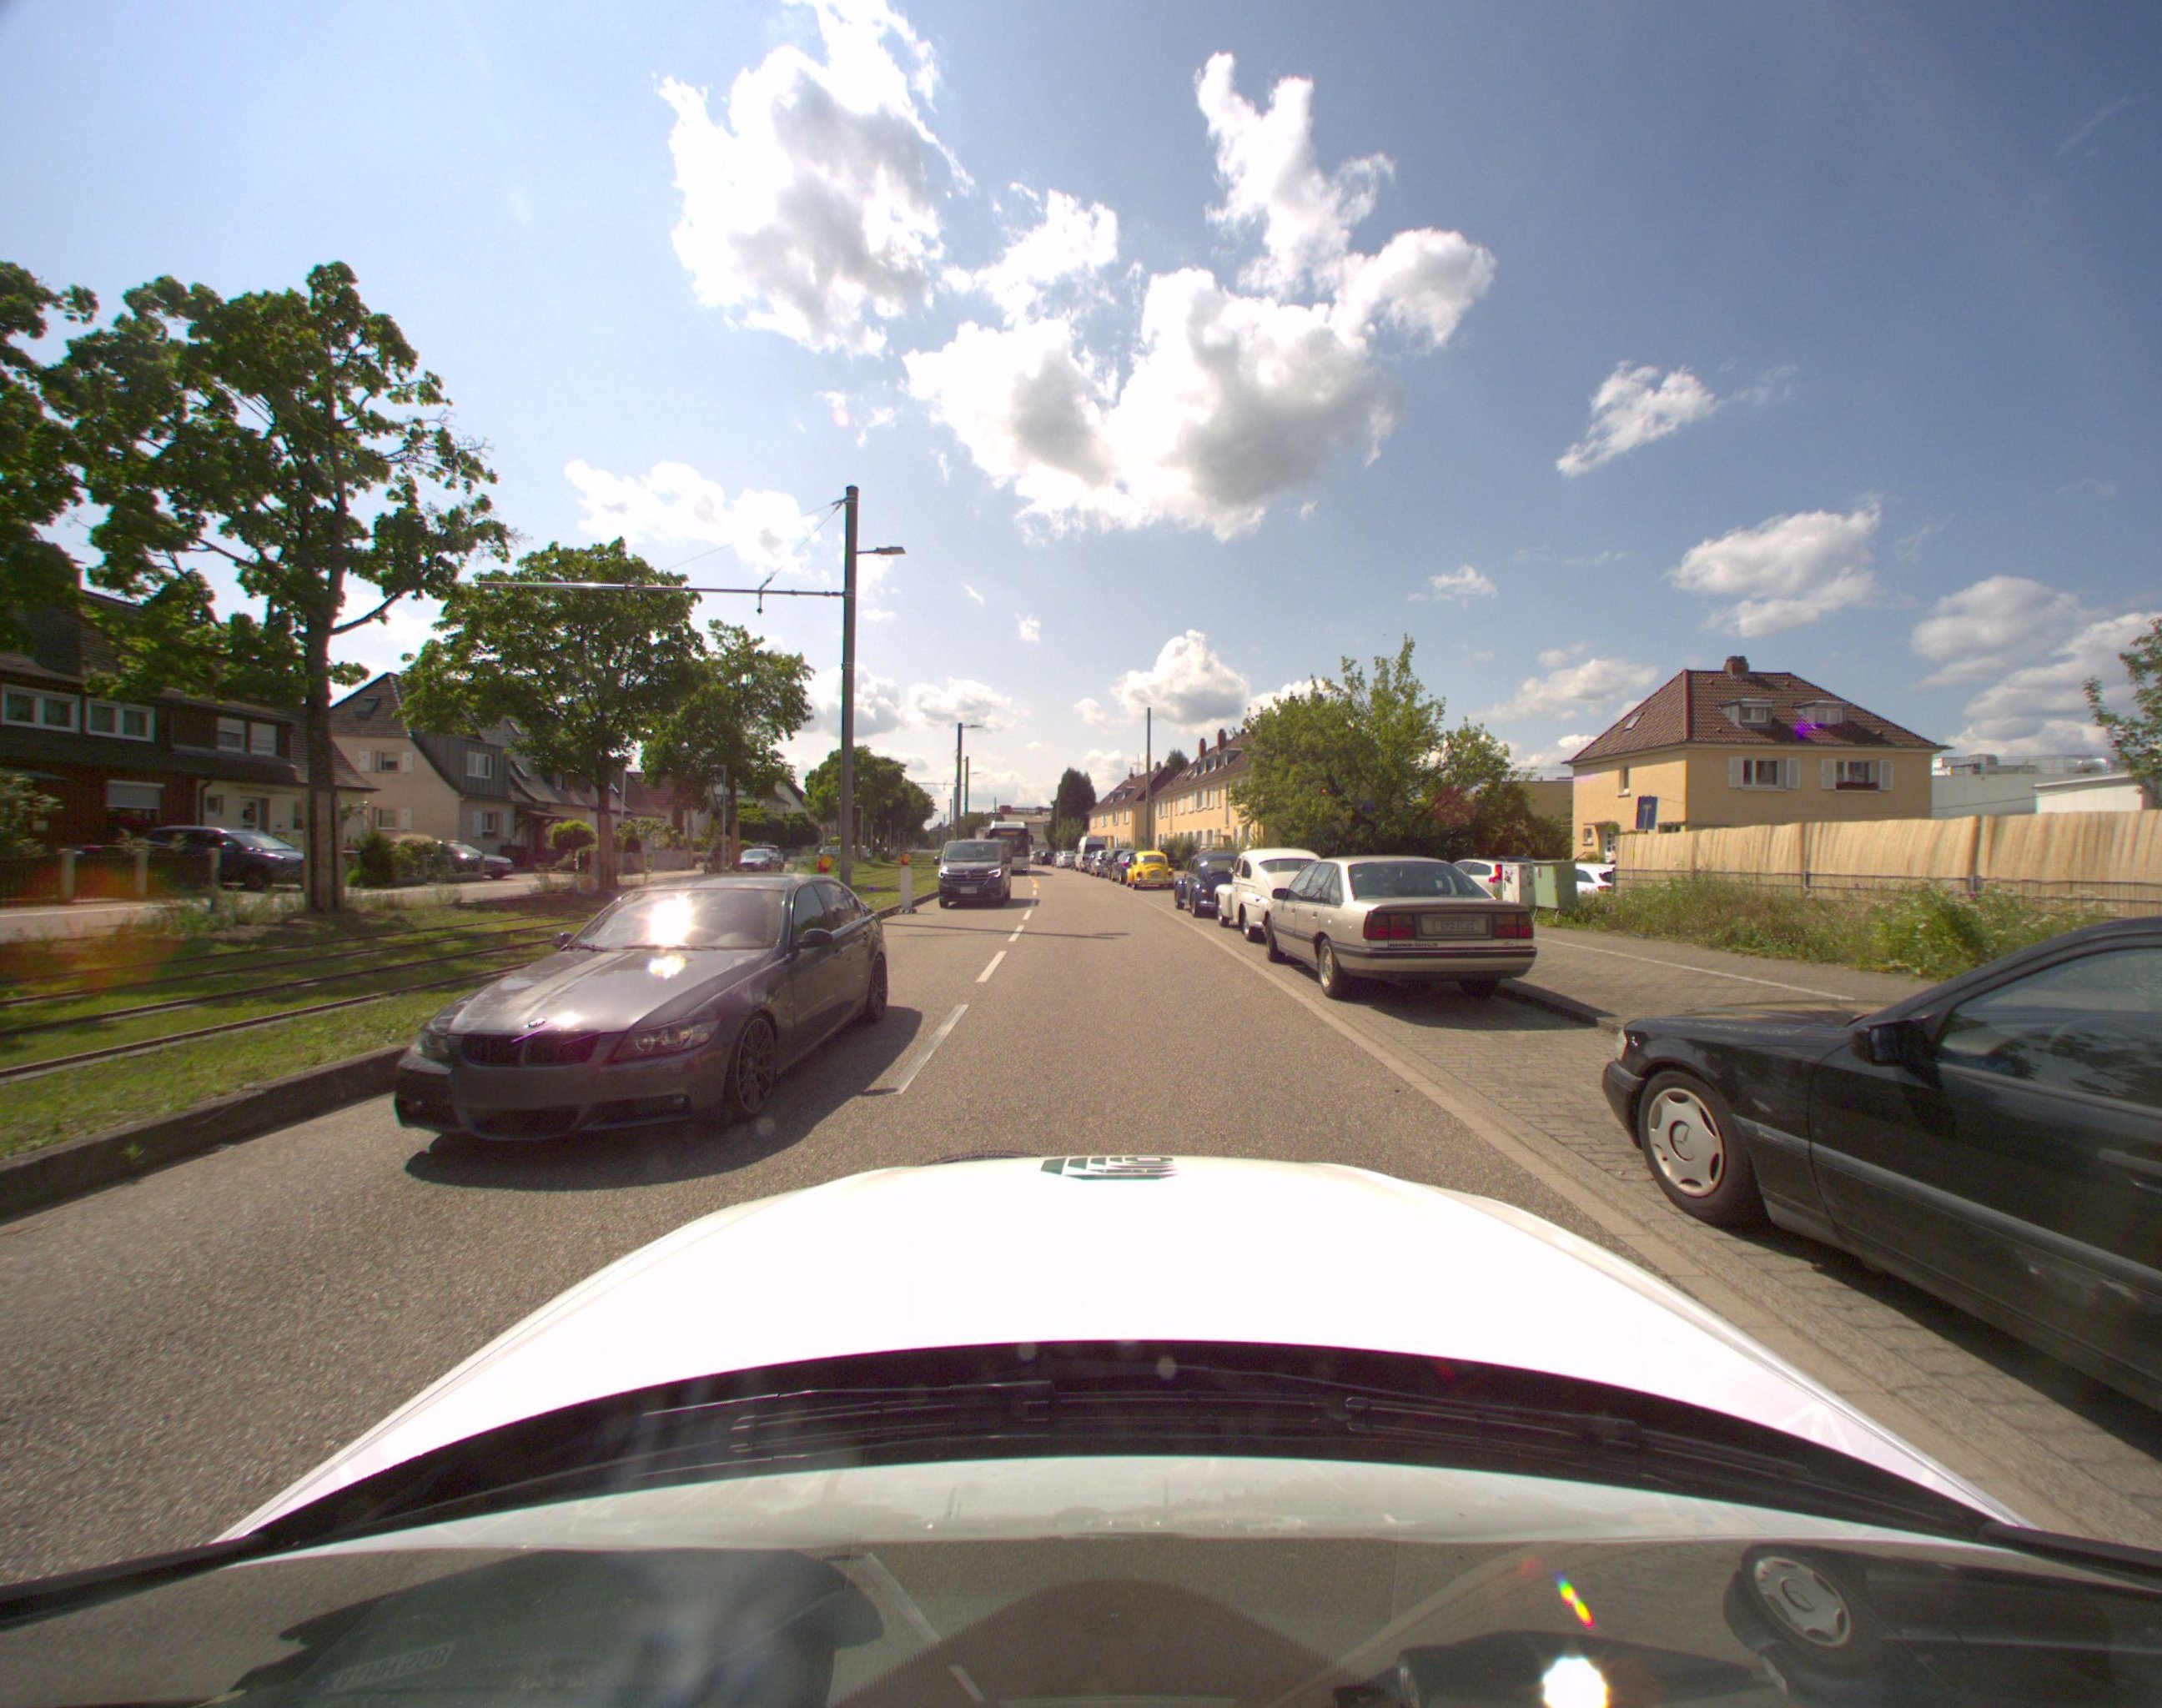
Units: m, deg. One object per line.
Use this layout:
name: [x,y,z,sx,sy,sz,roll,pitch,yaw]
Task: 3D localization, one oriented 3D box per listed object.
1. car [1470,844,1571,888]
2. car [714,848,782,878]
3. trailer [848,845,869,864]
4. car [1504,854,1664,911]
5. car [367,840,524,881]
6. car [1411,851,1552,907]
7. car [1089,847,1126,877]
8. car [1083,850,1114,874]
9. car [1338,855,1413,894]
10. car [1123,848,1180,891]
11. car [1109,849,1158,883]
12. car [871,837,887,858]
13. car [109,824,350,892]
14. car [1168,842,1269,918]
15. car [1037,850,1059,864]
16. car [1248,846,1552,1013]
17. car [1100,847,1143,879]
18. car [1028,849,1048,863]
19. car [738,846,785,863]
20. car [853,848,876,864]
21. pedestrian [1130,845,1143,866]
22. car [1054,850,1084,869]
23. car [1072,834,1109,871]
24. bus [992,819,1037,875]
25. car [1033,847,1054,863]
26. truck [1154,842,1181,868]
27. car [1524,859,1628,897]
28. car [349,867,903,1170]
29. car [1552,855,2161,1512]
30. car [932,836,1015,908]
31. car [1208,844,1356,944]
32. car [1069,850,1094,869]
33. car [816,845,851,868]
car: [16.891,0.417,31.525,1.631,1.547,4.086,-3,0,-1]
car: [-16.688,0.402,41.067,1.816,1.406,4.804,1,0,-5]
trailer: [-20.786,0.044,76.070,1.565,1.678,3.361,1,0,-10]
car: [13.464,0.699,22.128,1.633,1.374,4.081,0,0,-4]
car: [-24.858,0.258,32.003,4.463,1.523,1.922,1,0,-5]
car: [10.760,0.620,22.231,1.633,1.374,4.081,0,0,-4]
car: [1.476,0.436,46.993,1.634,1.602,4.022,1,0,-5]
car: [1.087,0.464,51.712,1.534,1.445,3.730,1,0,-5]
car: [11.163,0.752,31.136,1.629,1.355,4.092,0,0,3]
car: [2.718,0.564,32.045,1.633,1.482,3.927,-2,1,-3]
car: [2.364,0.522,37.537,1.634,1.482,4.117,1,0,-5]
car: [-27.494,-0.844,110.982,2.077,2.721,6.969,-1,1,-14]
car: [-24.231,0.113,23.358,4.463,1.836,2.061,1,0,-5]
car: [3.217,0.552,19.815,1.545,1.641,4.242,1,0,-3]
car: [-3.388,0.270,83.808,1.764,1.417,3.987,-1,1,-10]
car: [3.302,0.654,9.581,1.701,1.449,4.834,1,0,0]
car: [2.081,0.455,42.962,1.635,1.602,3.922,1,0,-7]
car: [-4.969,0.198,93.743,1.764,1.476,3.987,-1,1,-10]
car: [-30.805,0.050,78.624,3.991,1.571,1.787,0,0,-13]
car: [-21.774,0.142,81.891,1.728,1.505,4.554,-1,1,-9]
pedestrian: [4.399,0.146,64.537,0.852,1.652,0.636,1,0,-5]
car: [-1.087,0.468,69.639,1.799,1.458,4.748,-1,0,-10]
car: [0.635,-0.117,57.049,1.927,2.481,5.505,0,0,-6]
bus: [-4.786,-0.487,56.463,2.633,3.412,12.220,-1,0,-7]
car: [-4.148,0.128,88.914,1.764,1.643,3.987,-1,1,-10]
truck: [5.873,0.072,55.206,1.344,1.688,2.436,0,0,-6]
car: [19.525,0.898,32.323,1.631,1.401,4.086,1,0,-1]
car: [-2.662,0.834,6.020,1.718,1.389,4.122,0,0,1]
car: [3.201,0.747,1.962,1.572,1.449,4.453,1,0,0]
car: [-3.173,0.466,25.027,1.950,1.966,5.289,0,0,-2]
car: [3.420,0.596,14.679,1.572,1.513,4.459,1,0,0]
car: [0.034,0.412,61.891,1.341,1.340,3.276,1,-1,-11]
car: [-18.521,0.177,61.116,1.810,1.586,4.554,-1,1,-9]
